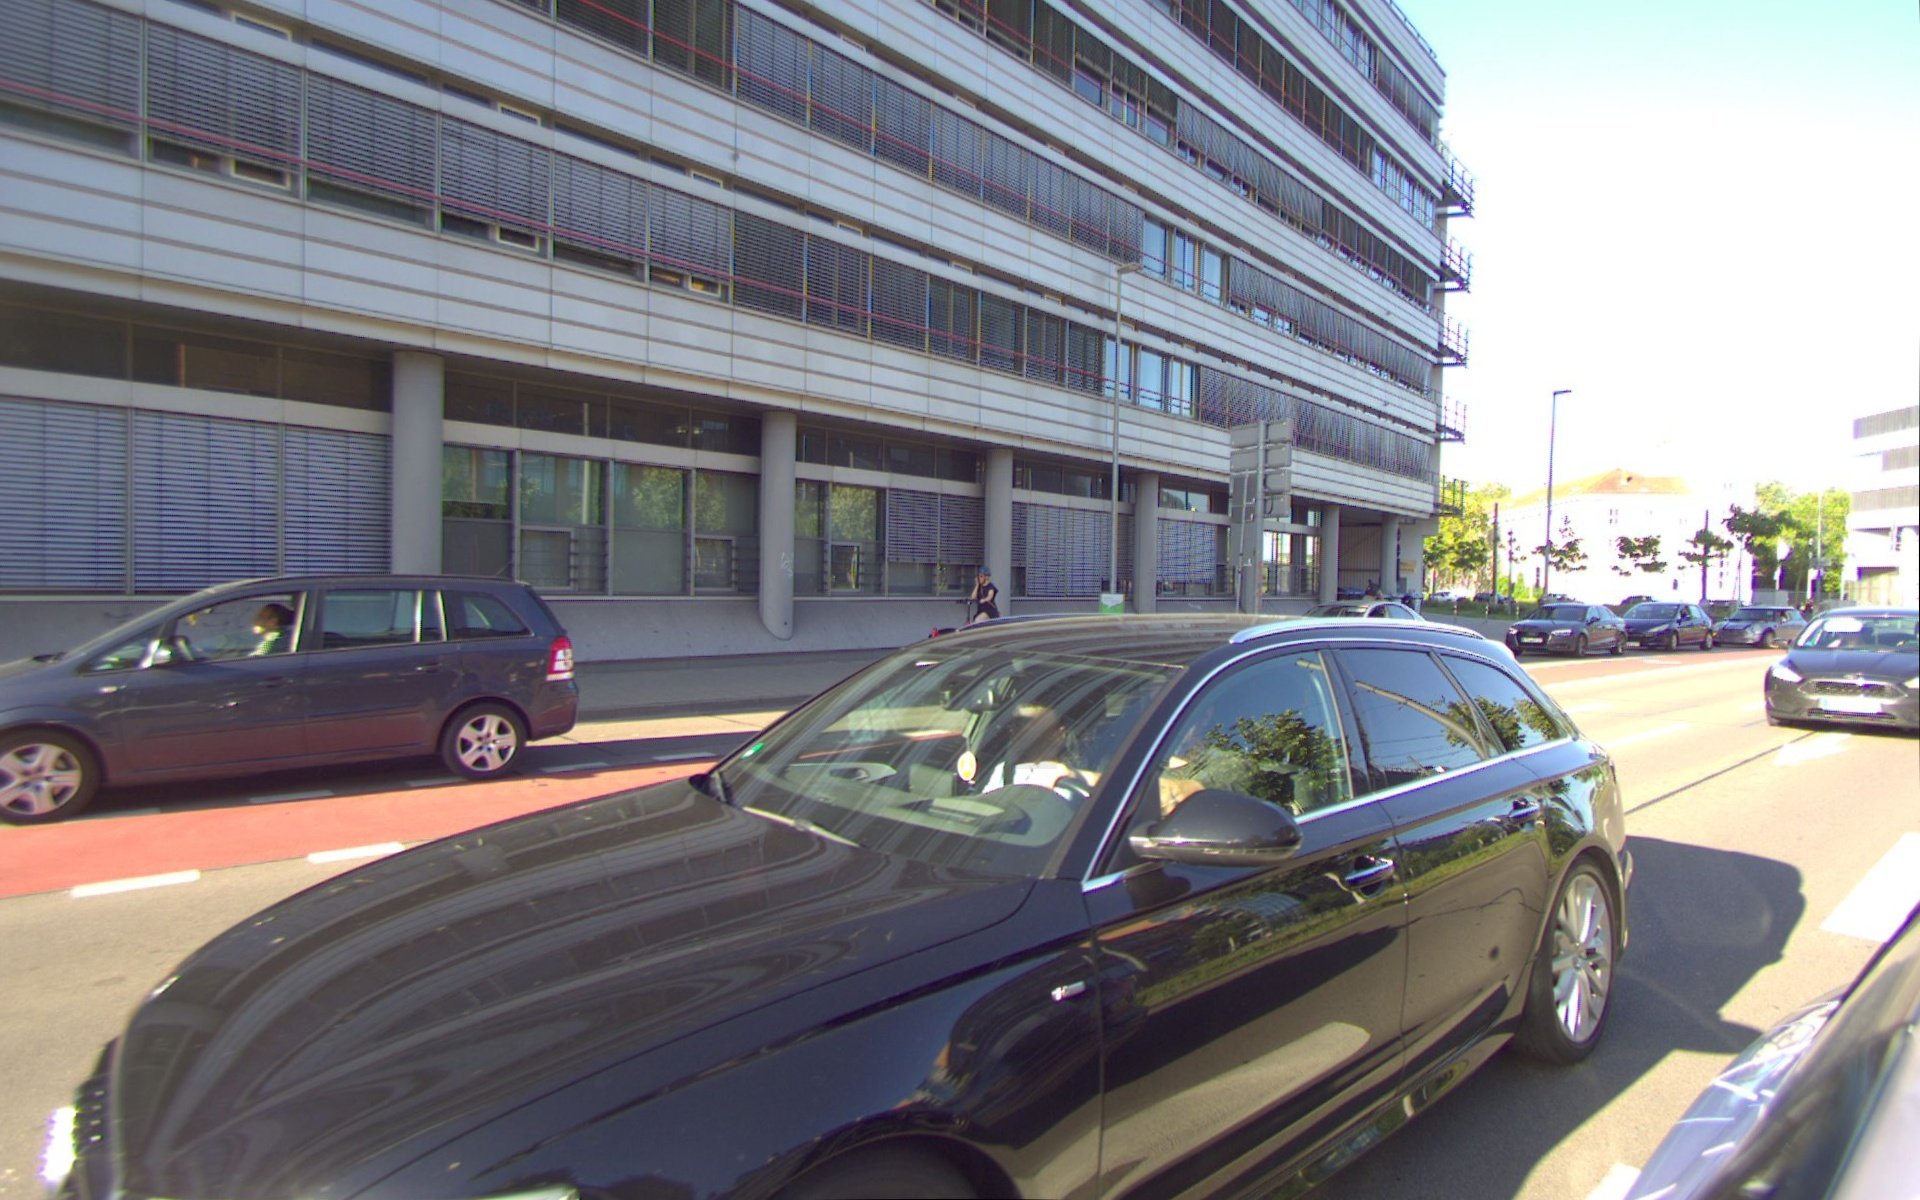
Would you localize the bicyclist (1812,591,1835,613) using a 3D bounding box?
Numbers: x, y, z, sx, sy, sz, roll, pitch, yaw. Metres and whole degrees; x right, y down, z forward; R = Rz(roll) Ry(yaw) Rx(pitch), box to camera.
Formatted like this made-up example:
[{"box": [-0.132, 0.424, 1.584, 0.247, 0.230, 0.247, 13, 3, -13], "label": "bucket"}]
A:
[{"box": [63.649, 0.159, 74.613, 0.862, 1.627, 1.009, 0, 1, -28], "label": "bicyclist"}]

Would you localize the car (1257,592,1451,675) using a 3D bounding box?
[{"box": [7.982, 0.583, 20.316, 4.409, 1.449, 1.754, 0, 2, -40], "label": "car"}]

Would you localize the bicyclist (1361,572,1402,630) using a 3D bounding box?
[{"box": [12.307, 0.021, 29.550, 0.973, 1.638, 0.685, 0, 1, -39], "label": "bicyclist"}]

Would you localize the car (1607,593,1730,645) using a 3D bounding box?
[{"box": [21.768, 0.580, 31.046, 3.922, 1.464, 1.738, 1, 1, -33], "label": "car"}]

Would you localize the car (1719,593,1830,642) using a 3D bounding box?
[{"box": [27.572, 0.594, 34.238, 3.918, 1.463, 1.443, 2, 2, -28], "label": "car"}]

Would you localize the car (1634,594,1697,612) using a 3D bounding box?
[{"box": [61.117, 0.253, 87.758, 1.958, 1.440, 4.009, 0, 1, -21], "label": "car"}]

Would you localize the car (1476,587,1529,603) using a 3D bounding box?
[{"box": [54.882, -0.535, 102.449, 1.958, 1.440, 4.535, 0, 1, -23], "label": "car"}]

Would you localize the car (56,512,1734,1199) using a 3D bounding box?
[{"box": [0.410, 0.637, 2.972, 4.412, 1.510, 1.817, 0, 2, -37], "label": "car"}]

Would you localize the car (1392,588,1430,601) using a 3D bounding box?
[{"box": [51.259, -0.598, 115.076, 1.894, 1.393, 4.009, 1, 1, -15], "label": "car"}]

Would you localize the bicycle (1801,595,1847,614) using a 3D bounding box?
[{"box": [63.642, 0.320, 74.594, 0.932, 1.328, 2.376, 0, 1, -28], "label": "bicycle"}]

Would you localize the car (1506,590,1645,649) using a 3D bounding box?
[{"box": [16.446, 0.532, 26.987, 4.033, 1.459, 1.715, 1, -1, -36], "label": "car"}]

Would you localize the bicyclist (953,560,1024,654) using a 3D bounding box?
[{"box": [0.508, 0.106, 18.184, 1.025, 1.584, 0.626, -1, 7, -41], "label": "bicyclist"}]

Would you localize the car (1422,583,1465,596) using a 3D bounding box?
[{"box": [52.425, -1.154, 109.815, 1.958, 1.259, 4.009, 1, 1, -15], "label": "car"}]

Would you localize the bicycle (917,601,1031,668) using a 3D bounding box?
[{"box": [0.277, 0.587, 18.010, 2.168, 1.044, 0.500, -1, 8, -41], "label": "bicycle"}]

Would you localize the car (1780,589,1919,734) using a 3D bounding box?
[{"box": [11.524, 0.645, 12.446, 4.084, 1.451, 1.687, -3, 1, -43], "label": "car"}]

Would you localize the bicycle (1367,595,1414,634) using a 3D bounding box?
[{"box": [12.597, 0.417, 29.589, 1.672, 1.070, 0.505, -1, 4, -40], "label": "bicycle"}]

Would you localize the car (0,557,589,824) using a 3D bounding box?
[{"box": [-5.336, 0.533, 7.765, 4.380, 1.649, 1.693, 0, 1, -37], "label": "car"}]
